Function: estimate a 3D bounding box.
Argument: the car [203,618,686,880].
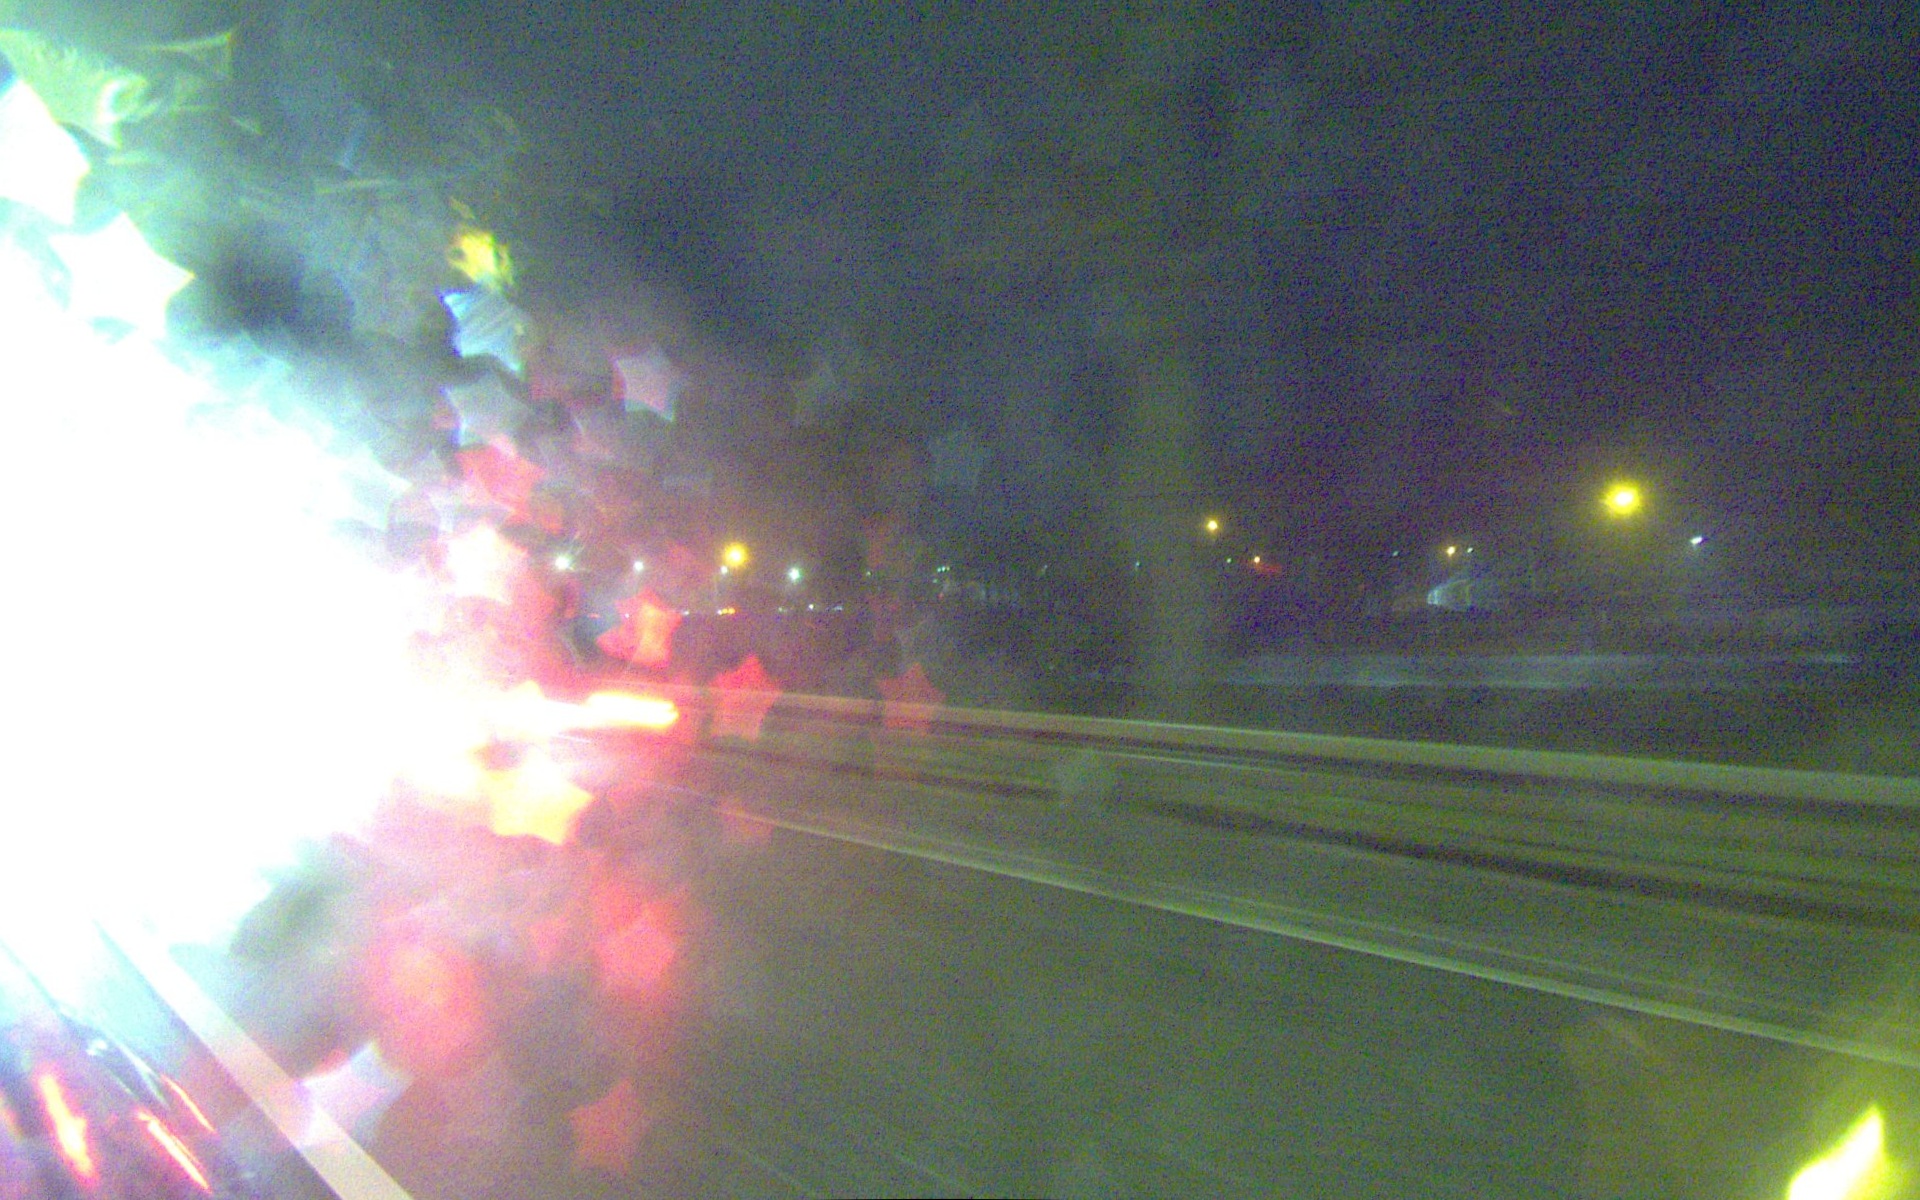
[{"bbox_3d":[-4.153,0.853,7.749,4.590,1.402,1.773,0,-1,42],"label":"car"}]

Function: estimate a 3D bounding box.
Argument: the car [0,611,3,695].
[{"bbox_3d":[-21.399,1.149,21.020,1.907,1.887,4.007,0,-1,-39],"label":"car"}]

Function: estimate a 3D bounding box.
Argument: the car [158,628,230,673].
[{"bbox_3d":[-25.690,1.656,34.045,1.705,1.415,3.873,0,-1,-34],"label":"car"}]

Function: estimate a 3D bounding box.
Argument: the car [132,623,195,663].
[{"bbox_3d":[-41.543,2.229,52.861,1.966,1.949,4.012,-1,-1,-29],"label":"car"}]

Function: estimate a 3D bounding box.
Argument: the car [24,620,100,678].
[{"bbox_3d":[-32.740,1.742,36.901,1.969,1.949,4.005,0,-2,-42],"label":"car"}]

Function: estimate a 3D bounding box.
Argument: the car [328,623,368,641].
[{"bbox_3d":[-52.807,2.750,87.401,1.966,1.495,4.011,-1,-1,-15],"label":"car"}]

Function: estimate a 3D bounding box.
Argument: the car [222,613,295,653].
[{"bbox_3d":[-38.209,1.771,55.290,2.414,2.003,5.512,-1,-1,-26],"label":"car"}]
